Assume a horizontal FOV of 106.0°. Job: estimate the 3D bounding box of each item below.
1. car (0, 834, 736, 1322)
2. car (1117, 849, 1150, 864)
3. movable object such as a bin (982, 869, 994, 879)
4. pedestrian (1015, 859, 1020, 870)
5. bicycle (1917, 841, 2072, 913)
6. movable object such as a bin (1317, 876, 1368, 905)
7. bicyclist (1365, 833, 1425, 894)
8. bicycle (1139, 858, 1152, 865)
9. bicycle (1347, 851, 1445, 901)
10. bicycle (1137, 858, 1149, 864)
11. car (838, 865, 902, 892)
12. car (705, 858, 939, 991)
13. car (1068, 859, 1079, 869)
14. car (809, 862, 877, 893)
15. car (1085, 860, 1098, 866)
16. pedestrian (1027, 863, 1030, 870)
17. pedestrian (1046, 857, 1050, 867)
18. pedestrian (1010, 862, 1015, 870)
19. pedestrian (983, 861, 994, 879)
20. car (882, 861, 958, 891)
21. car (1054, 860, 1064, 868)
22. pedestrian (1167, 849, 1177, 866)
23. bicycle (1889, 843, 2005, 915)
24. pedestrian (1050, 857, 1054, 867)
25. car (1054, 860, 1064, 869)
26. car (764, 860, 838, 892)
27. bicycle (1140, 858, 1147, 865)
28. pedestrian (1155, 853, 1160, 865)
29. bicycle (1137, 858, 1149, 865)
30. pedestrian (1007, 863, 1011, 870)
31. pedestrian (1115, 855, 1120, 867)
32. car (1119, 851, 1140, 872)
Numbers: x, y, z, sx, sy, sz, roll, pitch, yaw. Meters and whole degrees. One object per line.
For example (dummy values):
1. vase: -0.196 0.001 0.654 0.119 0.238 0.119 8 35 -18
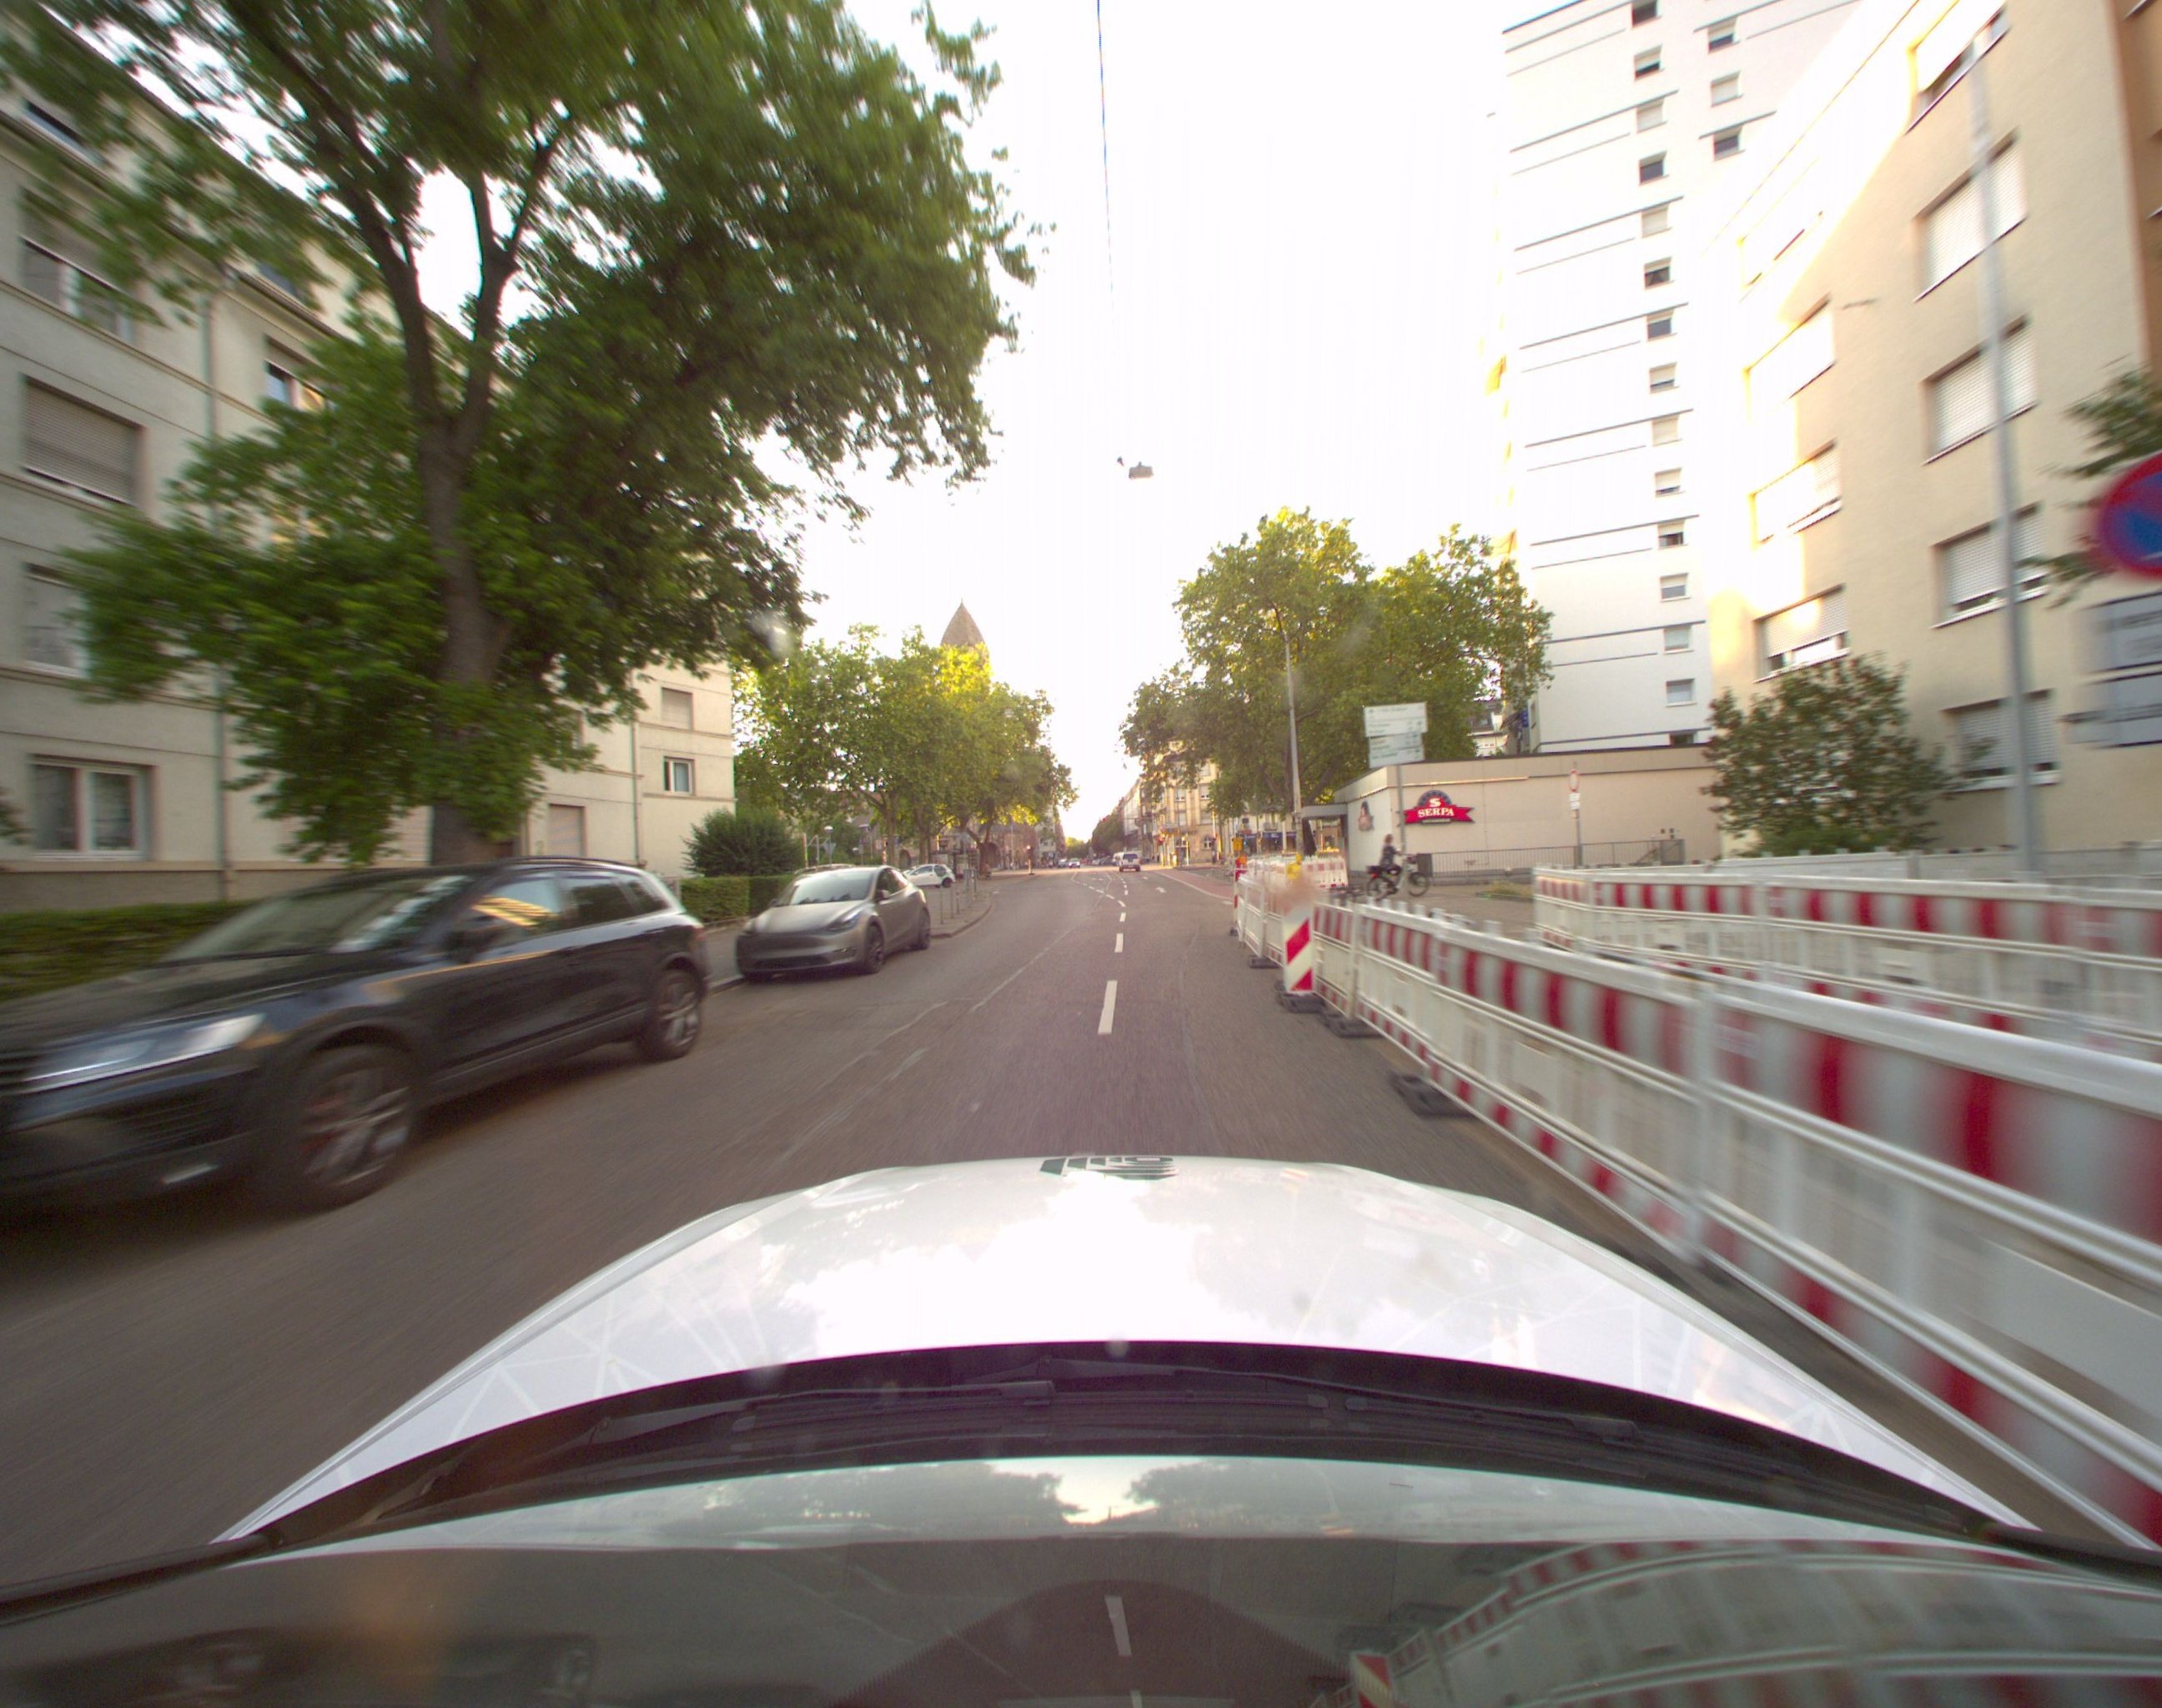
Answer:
1. car: -4.415 0.874 5.324 1.945 1.719 4.775 -5 -1 3
2. car: 9.006 0.498 139.052 5.853 2.288 2.048 -3 0 -40
3. movable object such as a bin: -8.485 1.803 74.177 0.732 0.890 0.987 -3 0 15
4. pedestrian: -11.074 1.786 141.166 0.588 1.886 0.557 -3 -1 25
5. bicycle: 13.523 0.318 12.131 0.541 0.968 1.701 -3 0 8
6. movable object such as a bin: 7.263 1.003 22.668 0.990 0.689 0.938 -5 -1 -11
7. bicyclist: 8.849 0.273 22.988 1.143 1.581 0.938 -5 -1 -11
8. bicycle: 10.583 1.223 133.496 1.899 0.968 0.548 -3 -1 17
9. bicycle: 8.877 0.621 22.978 2.352 1.172 0.938 -5 -1 -11
10. bicycle: 10.015 1.110 132.458 1.907 0.968 0.546 -3 0 2
11. car: -13.677 1.556 53.167 1.804 1.481 4.652 -3 0 17
12. car: -3.867 0.948 13.152 1.945 1.616 4.609 -5 -1 3
13. car: -1.337 1.756 144.110 1.778 1.651 3.815 -1 -1 -4
14. car: -16.075 1.537 55.293 1.803 1.800 4.657 -3 0 23
15. car: 3.217 2.759 246.816 3.977 1.816 1.998 -3 0 -3
16. pedestrian: -9.665 2.248 149.846 0.489 1.286 0.499 -3 -1 0
17. pedestrian: -6.469 1.621 159.016 0.588 1.886 0.588 -3 -1 17
18. pedestrian: -12.254 2.144 145.500 0.568 1.320 0.488 -3 -1 15
19. pedestrian: -8.571 1.458 75.104 0.732 1.629 0.689 -3 -1 15
20. car: -9.549 1.278 48.327 4.012 1.519 1.981 -2 0 -30
21. car: -4.704 2.223 173.873 1.990 1.651 3.815 -1 -1 -4
22. pedestrian: 9.638 0.346 86.011 0.796 1.768 0.718 -3 -1 -14
23. bicycle: 12.654 0.337 11.962 0.539 0.968 1.825 -3 0 27
24. pedestrian: -5.643 1.568 159.188 0.588 1.886 0.556 -3 -1 19
25. car: -4.472 2.141 166.135 1.990 1.651 3.815 -1 -1 -4
26. car: -18.828 1.454 54.974 2.060 1.841 4.657 -3 0 23
27. bicycle: 10.355 1.239 134.871 0.539 0.968 1.930 -3 0 18
28. pedestrian: 11.923 0.766 126.821 0.590 1.886 0.648 -3 -1 6
29. bicycle: 10.065 1.226 132.734 1.907 0.968 0.546 -3 0 2
30. pedestrian: -12.790 2.175 144.393 0.567 1.291 0.489 -3 -1 43
31. pedestrian: 5.967 1.148 132.700 0.590 1.886 0.648 -3 -1 6
32. car: 4.550 0.690 76.803 1.859 1.815 4.002 -4 -1 2
